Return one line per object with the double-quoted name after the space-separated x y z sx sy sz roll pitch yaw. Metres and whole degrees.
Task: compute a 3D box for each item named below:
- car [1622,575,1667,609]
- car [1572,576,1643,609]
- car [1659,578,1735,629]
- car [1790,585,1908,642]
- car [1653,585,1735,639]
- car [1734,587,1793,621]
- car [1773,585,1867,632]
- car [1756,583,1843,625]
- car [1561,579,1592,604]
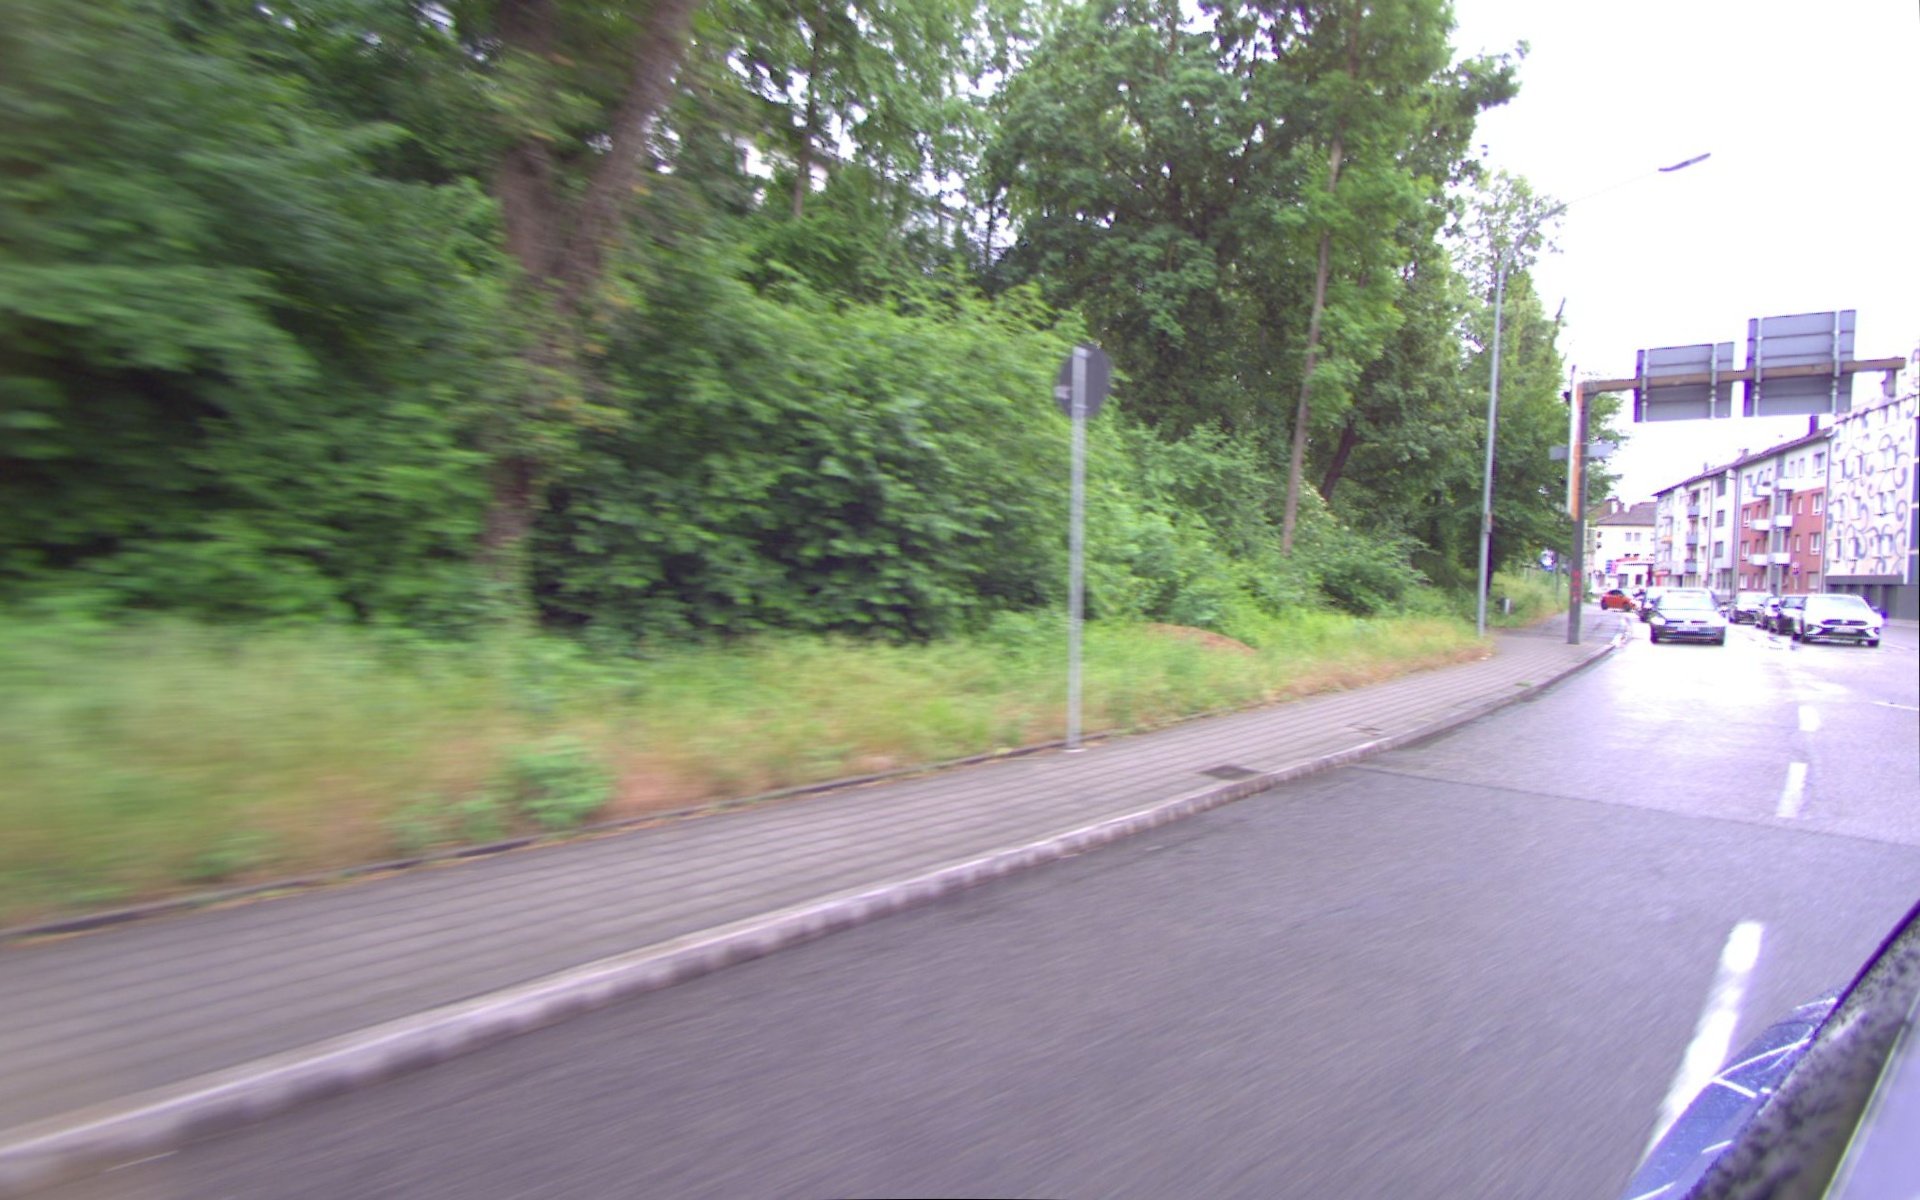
35.545 -0.435 52.634 1.669 1.676 3.956 3 2 31 "car"
42.545 -0.511 66.634 1.964 2.038 4.484 1 2 4 "car"
25.672 0.082 35.362 1.988 1.636 4.561 2 2 35 "car"
26.535 0.332 30.375 1.865 1.496 4.503 3 2 32 "car"
21.441 0.290 29.594 1.810 1.426 4.177 2 2 36 "car"
36.743 0.157 46.361 1.700 1.411 3.953 2 2 33 "car"
30.765 0.255 36.352 1.907 1.496 4.566 3 2 33 "car"
33.716 0.106 40.769 1.985 1.496 4.568 3 2 32 "car"
45.447 -0.659 74.597 1.896 1.732 4.841 2 1 32 "car"
